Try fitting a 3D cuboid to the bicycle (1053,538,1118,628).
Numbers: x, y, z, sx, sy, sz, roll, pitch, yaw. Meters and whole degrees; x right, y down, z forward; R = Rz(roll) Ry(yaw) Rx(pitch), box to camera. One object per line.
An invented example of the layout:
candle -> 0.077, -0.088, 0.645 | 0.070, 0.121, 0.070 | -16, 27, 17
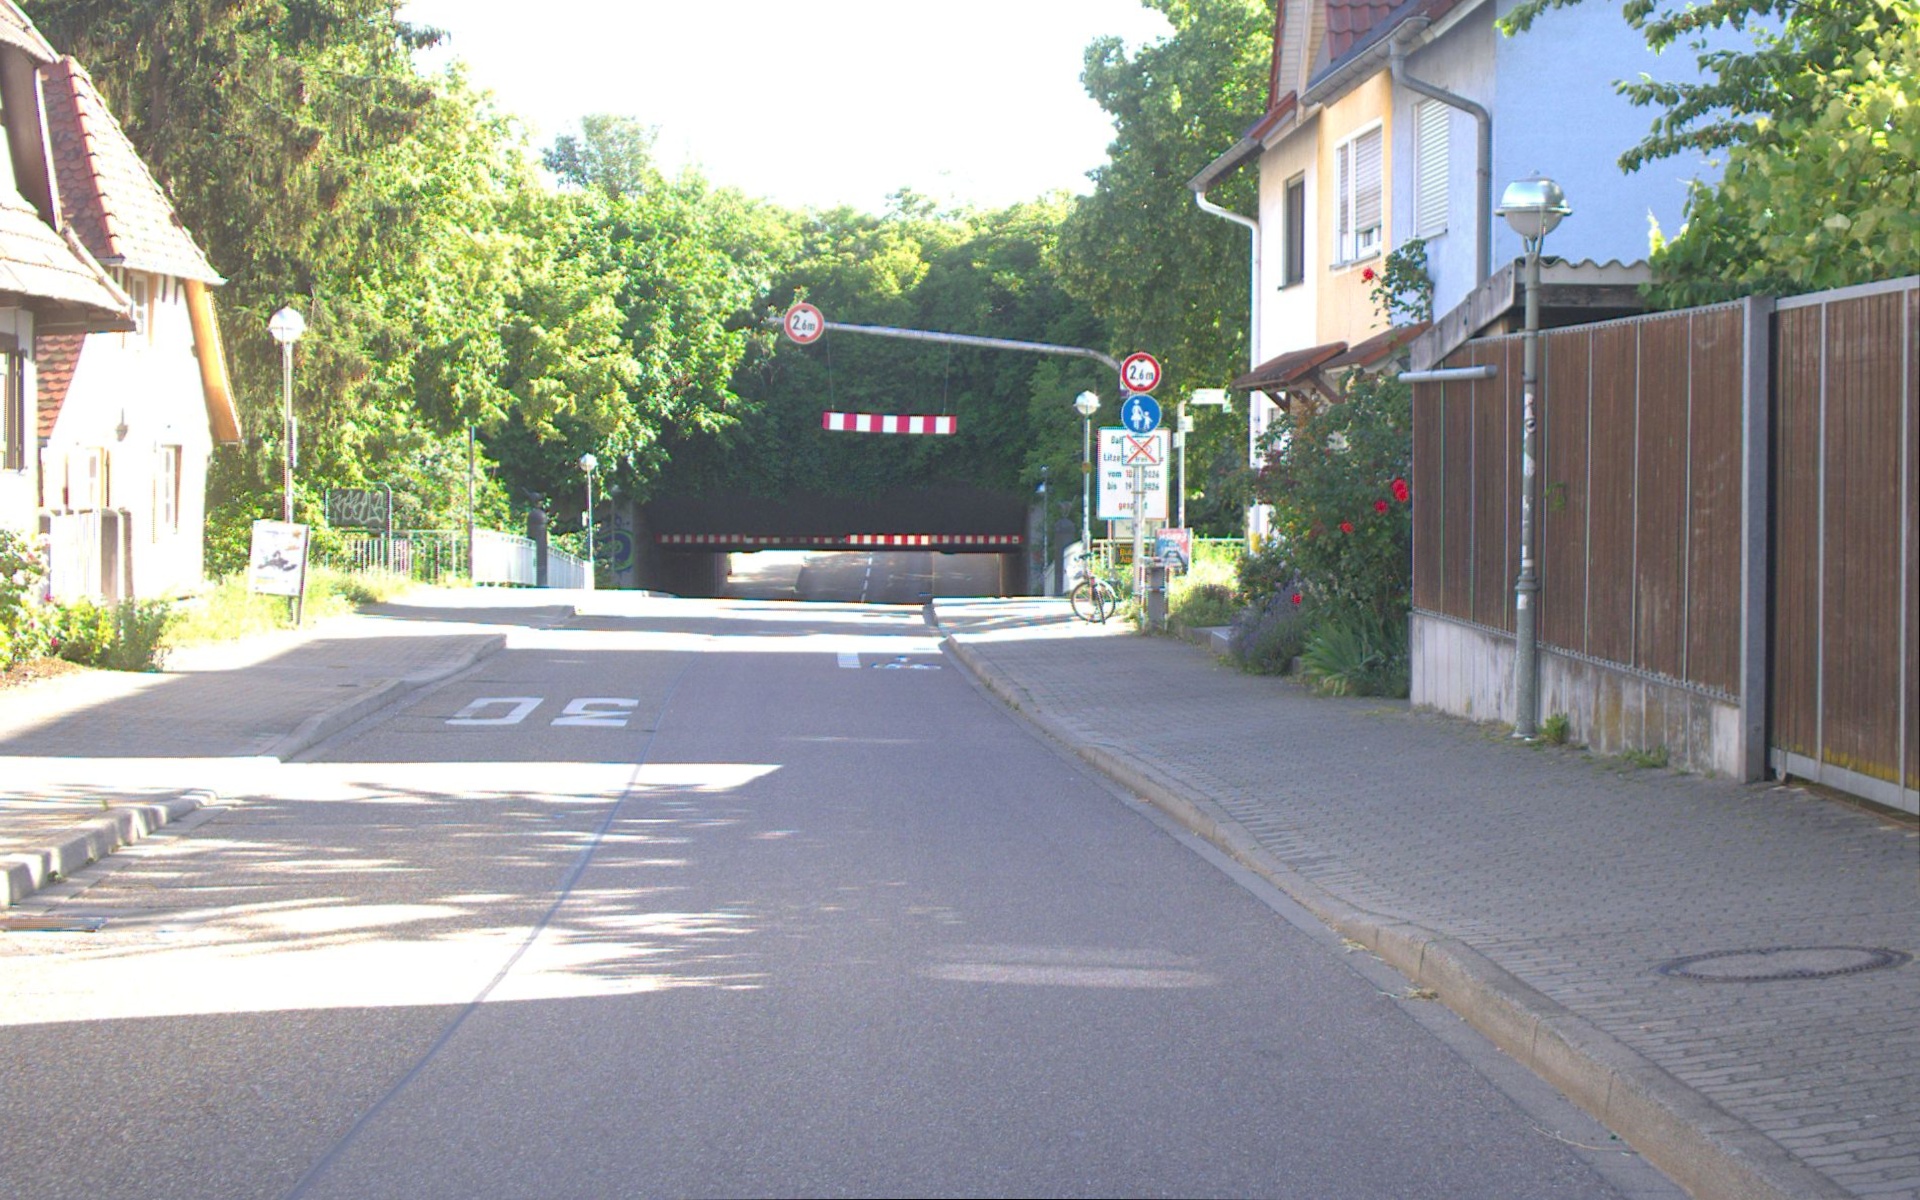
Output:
bicycle -> 1.765, -0.251, 48.413 | 0.688, 1.153, 1.540 | -5, 3, -2
